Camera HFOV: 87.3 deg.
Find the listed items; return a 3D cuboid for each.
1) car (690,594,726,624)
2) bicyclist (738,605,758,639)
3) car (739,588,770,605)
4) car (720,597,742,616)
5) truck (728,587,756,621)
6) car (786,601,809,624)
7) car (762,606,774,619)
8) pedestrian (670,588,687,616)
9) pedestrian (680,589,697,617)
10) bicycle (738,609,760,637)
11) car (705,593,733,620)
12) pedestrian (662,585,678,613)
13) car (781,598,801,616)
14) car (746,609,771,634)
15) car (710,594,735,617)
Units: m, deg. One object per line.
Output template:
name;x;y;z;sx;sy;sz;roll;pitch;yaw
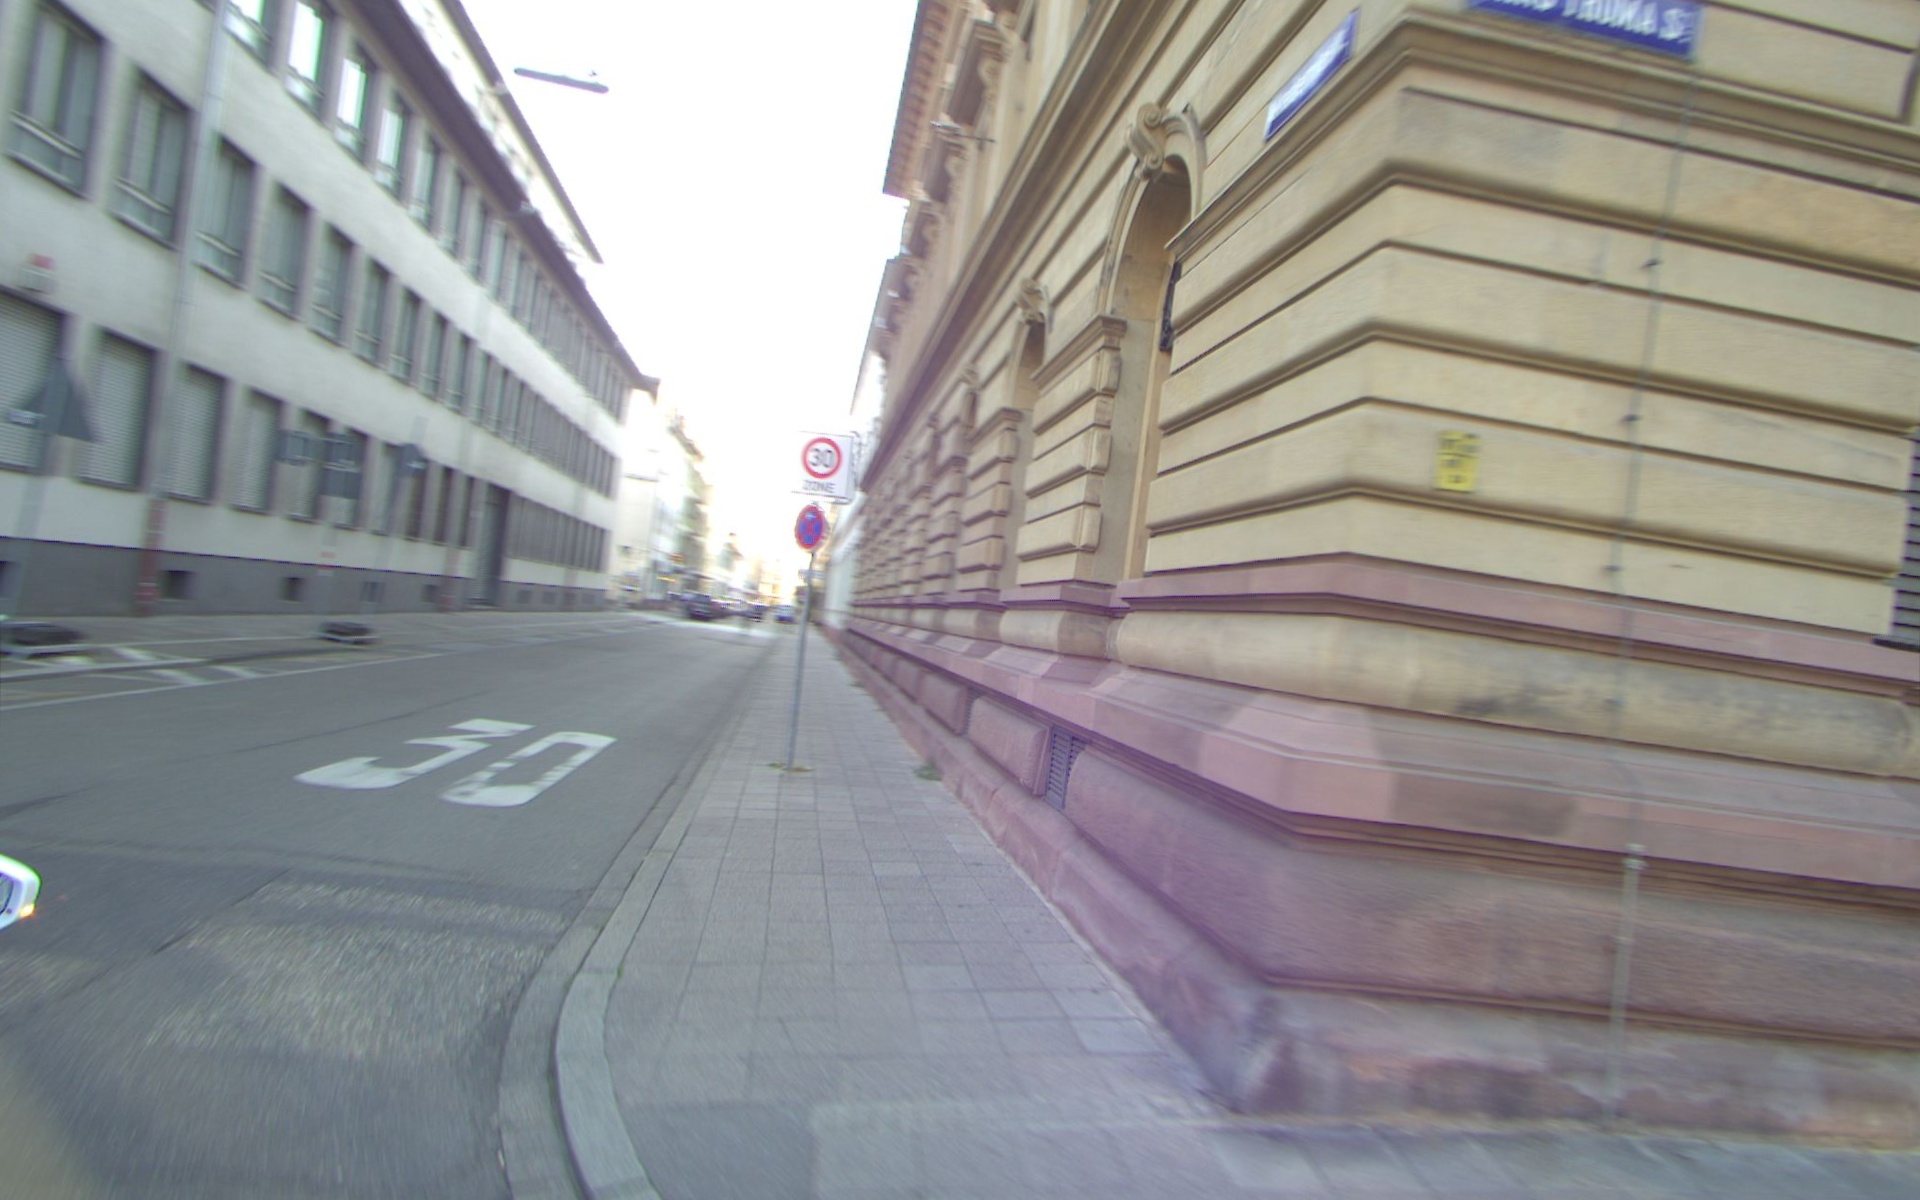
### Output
car;-17.203;0.609;68.811;1.967;1.748;3.994;7;-1;-10
bicyclist;-10.740;1.124;50.996;0.778;1.602;1.011;7;-1;-8
car;-28.543;-0.507;139.577;3.941;1.791;2.009;8;-2;-16
car;-24.871;0.690;109.294;1.967;1.837;3.994;7;-1;-10
truck;-26.387;0.484;121.423;2.736;3.545;9.595;8;-2;-13
car;-16.524;1.244;102.179;1.968;2.015;3.992;7;-1;-12
car;-36.937;2.431;193.553;1.969;2.036;3.992;9;-3;-13
pedestrian;-20.724;0.137;74.054;0.721;1.934;0.758;7;0;10
pedestrian;-19.835;0.227;73.449;0.721;1.934;0.758;7;0;10
bicycle;-10.643;1.158;50.885;0.783;1.292;2.575;7;-1;-8
car;-19.178;0.482;80.174;1.968;1.837;3.991;7;-1;-13
pedestrian;-20.490;-0.096;71.031;0.749;1.851;0.730;7;-1;-27
car;-20.454;0.812;121.727;1.968;1.908;4.164;7;-1;-12
car;-18.202;1.900;90.973;1.968;1.926;3.992;7;-1;-12
car;-21.579;0.477;91.485;1.968;1.837;3.992;7;-1;-12
